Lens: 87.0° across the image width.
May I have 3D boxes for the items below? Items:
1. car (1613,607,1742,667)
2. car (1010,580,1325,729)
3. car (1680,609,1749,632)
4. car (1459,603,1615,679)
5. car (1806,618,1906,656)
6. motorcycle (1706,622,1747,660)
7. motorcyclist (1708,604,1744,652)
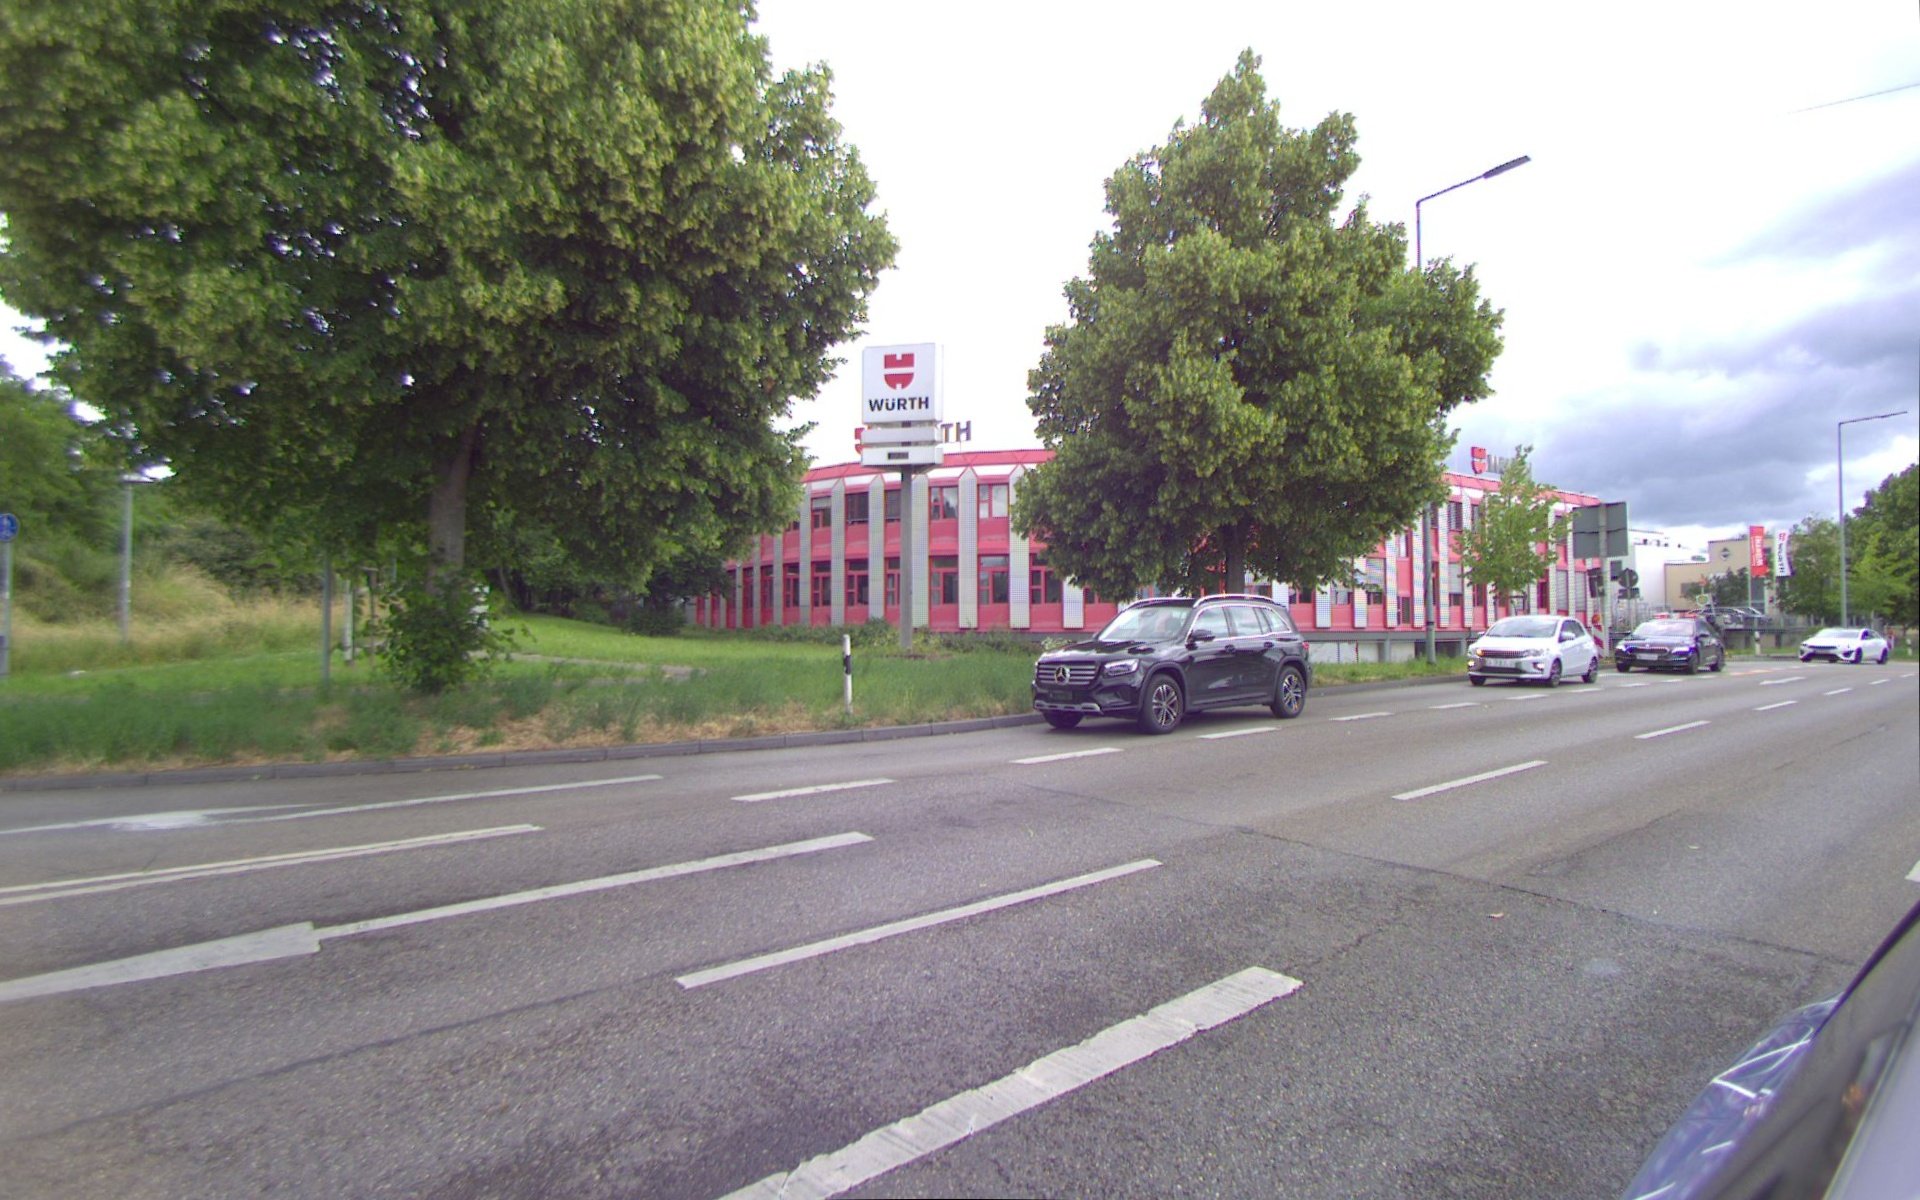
[{"bbox_3d":[19.544,1.003,27.497,4.446,1.464,1.784,3,-1,-40],"label":"car"},{"bbox_3d":[2.862,0.674,13.432,4.347,1.671,1.783,1,-3,-41],"label":"car"},{"bbox_3d":[61.796,1.683,82.961,1.752,1.776,4.247,0,0,-39],"label":"car"},{"bbox_3d":[12.433,0.873,21.714,3.767,1.461,1.783,3,-1,-42],"label":"car"},{"bbox_3d":[35.250,1.464,39.783,4.390,1.380,1.787,3,-3,-32],"label":"car"},{"bbox_3d":[24.414,1.293,32.208,1.911,1.162,0.748,2,-3,-45],"label":"motorcycle"},{"bbox_3d":[24.326,0.893,32.132,0.918,1.510,0.748,2,-3,-45],"label":"motorcyclist"}]
